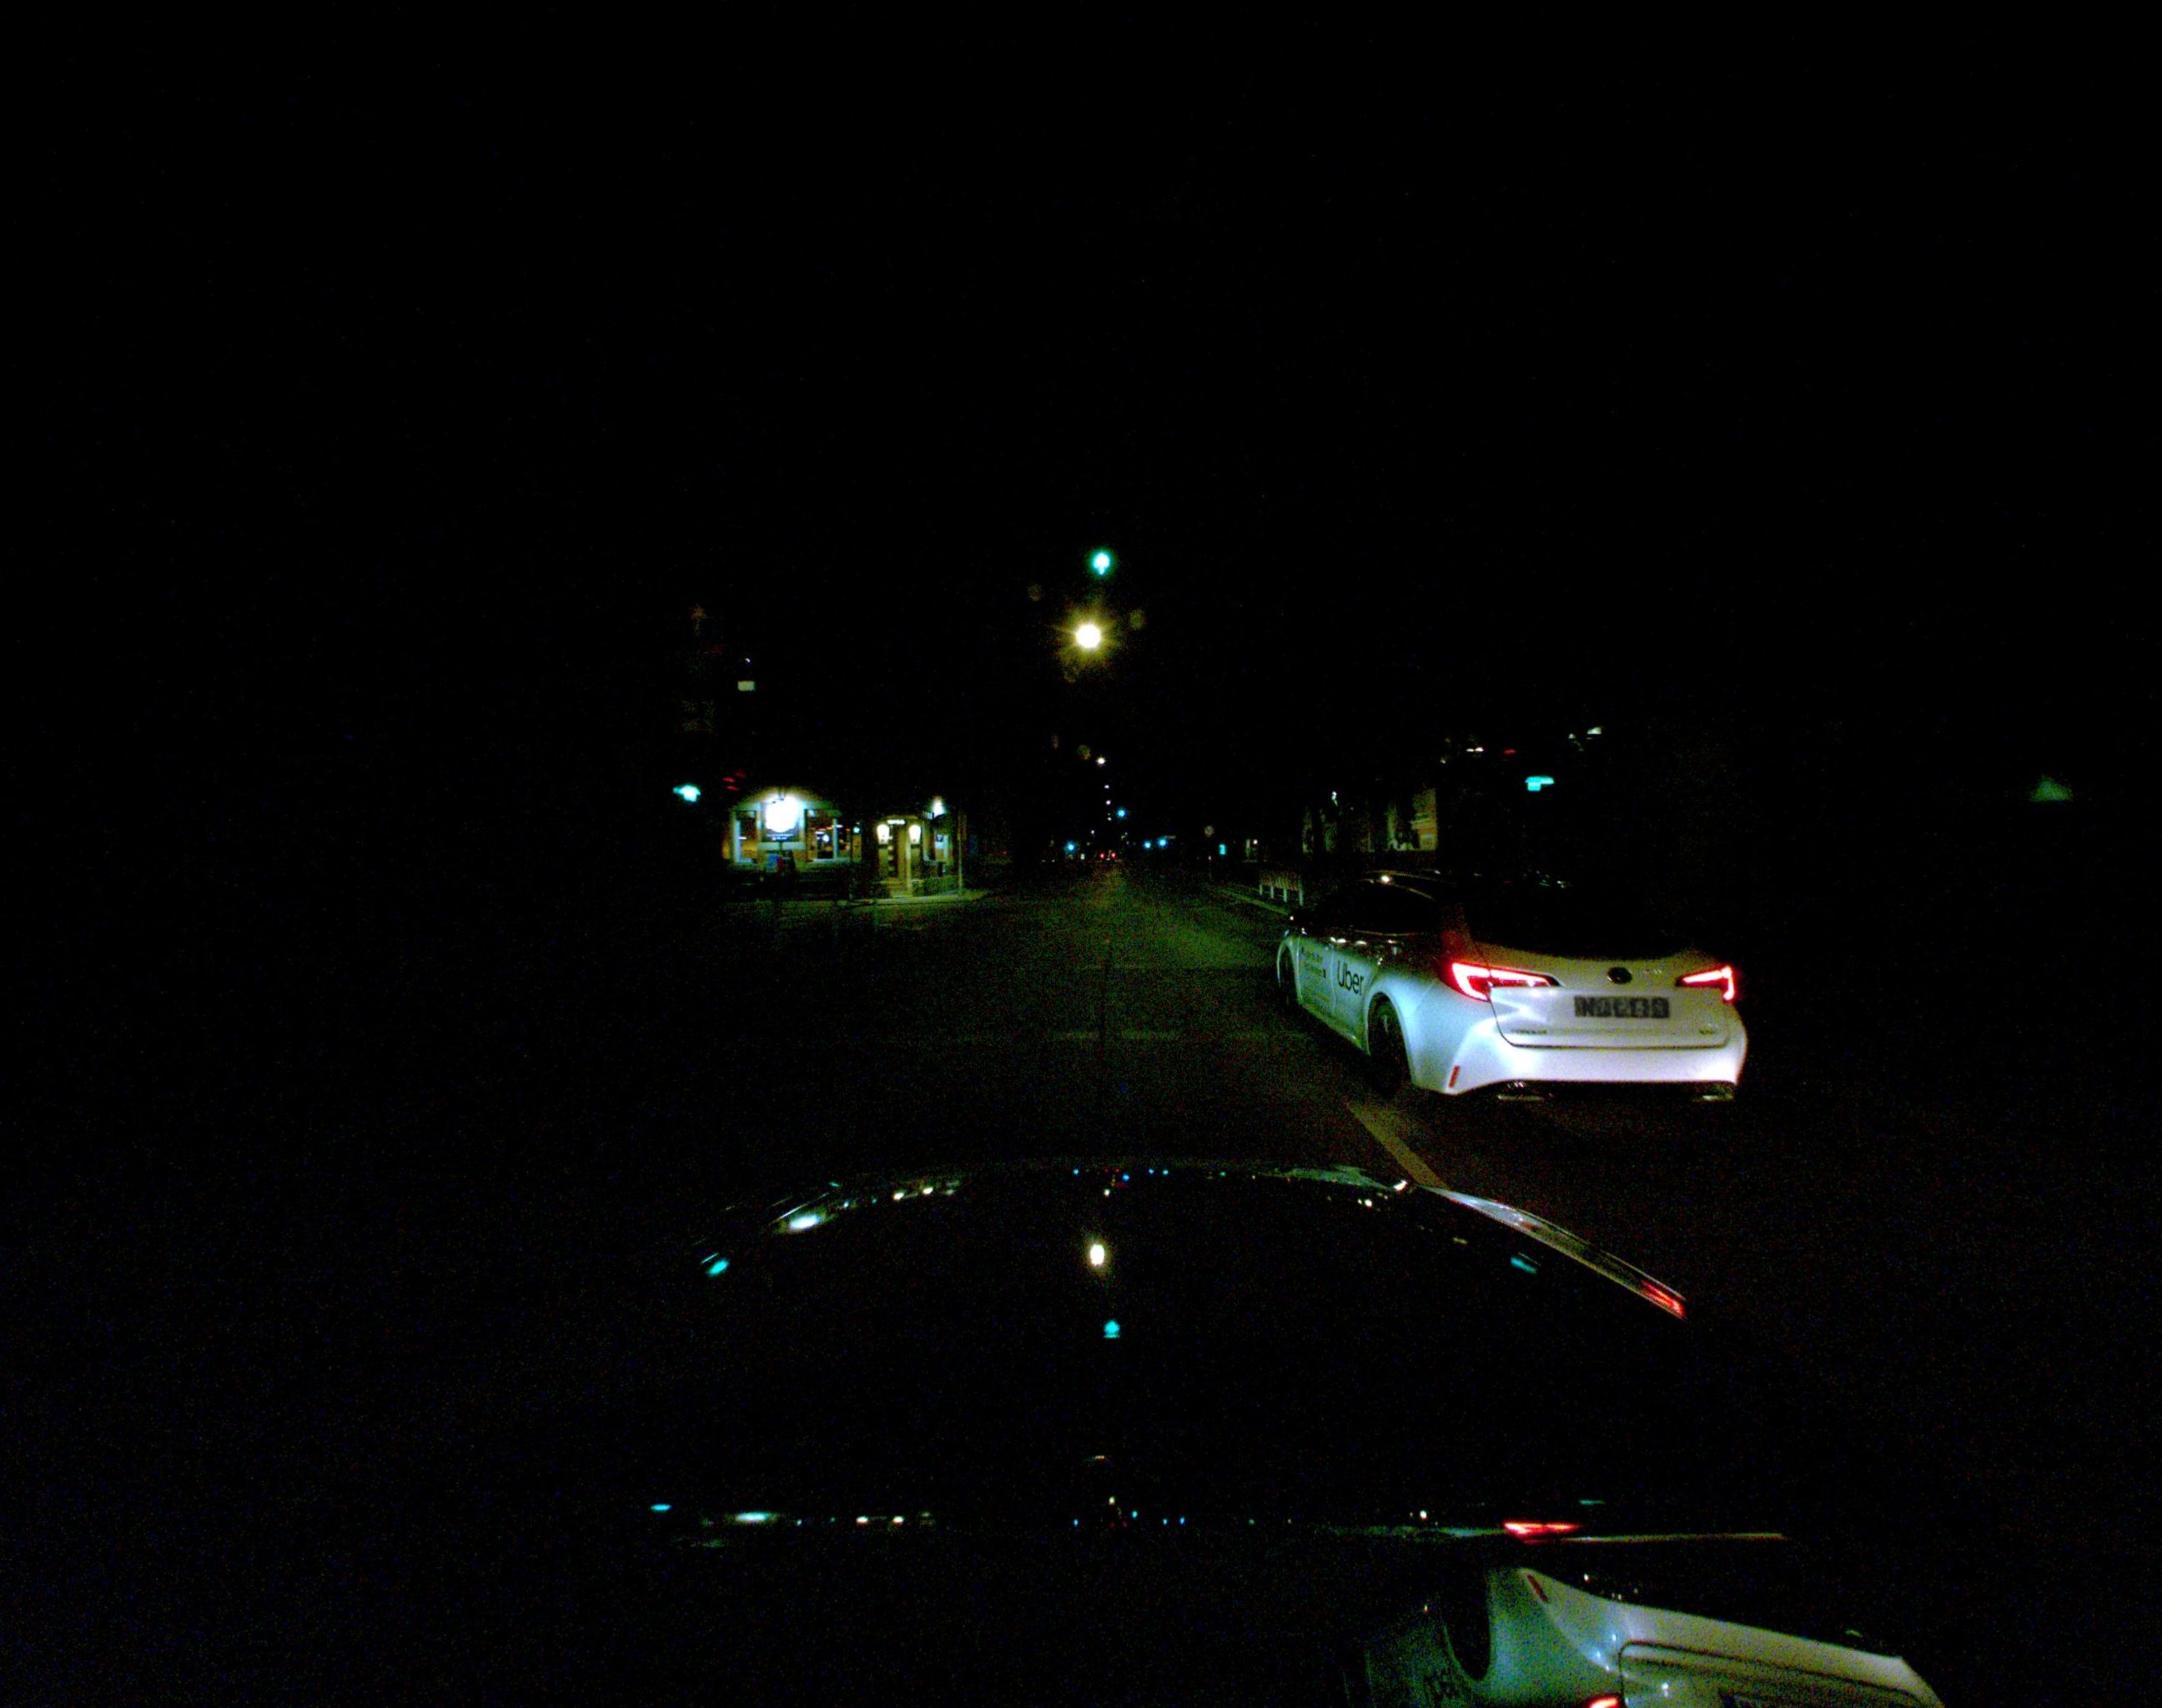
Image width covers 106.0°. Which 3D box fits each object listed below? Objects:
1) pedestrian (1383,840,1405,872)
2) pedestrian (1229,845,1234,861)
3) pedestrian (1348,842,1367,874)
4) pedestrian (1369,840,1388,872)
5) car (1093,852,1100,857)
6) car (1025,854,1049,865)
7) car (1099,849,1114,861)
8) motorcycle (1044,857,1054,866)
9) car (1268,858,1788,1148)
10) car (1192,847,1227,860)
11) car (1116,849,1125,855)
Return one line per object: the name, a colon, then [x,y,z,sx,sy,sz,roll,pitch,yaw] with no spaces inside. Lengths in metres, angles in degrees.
pedestrian: [17.936,0.131,46.702,0.897,1.769,0.907,-2,0,2]
pedestrian: [19.343,-0.136,104.581,0.529,2.013,0.670,-2,0,1]
pedestrian: [15.801,0.214,46.559,0.711,1.769,0.907,-2,0,2]
pedestrian: [16.917,0.092,46.328,0.736,1.769,0.907,-2,0,2]
car: [3.964,0.125,208.926,1.772,1.390,4.000,-2,0,0]
car: [-6.355,0.792,117.531,1.815,1.486,3.962,-2,0,-30]
car: [3.686,0.143,117.291,1.987,1.640,4.000,-2,0,0]
motorcycle: [-4.515,1.095,114.665,0.783,1.204,2.435,-2,0,-17]
car: [2.745,0.762,6.219,1.723,1.435,4.211,0,0,1]
car: [15.082,-0.044,95.596,3.968,1.386,1.773,-2,0,4]
car: [10.797,-0.500,223.205,1.987,1.596,3.999,-2,0,0]
